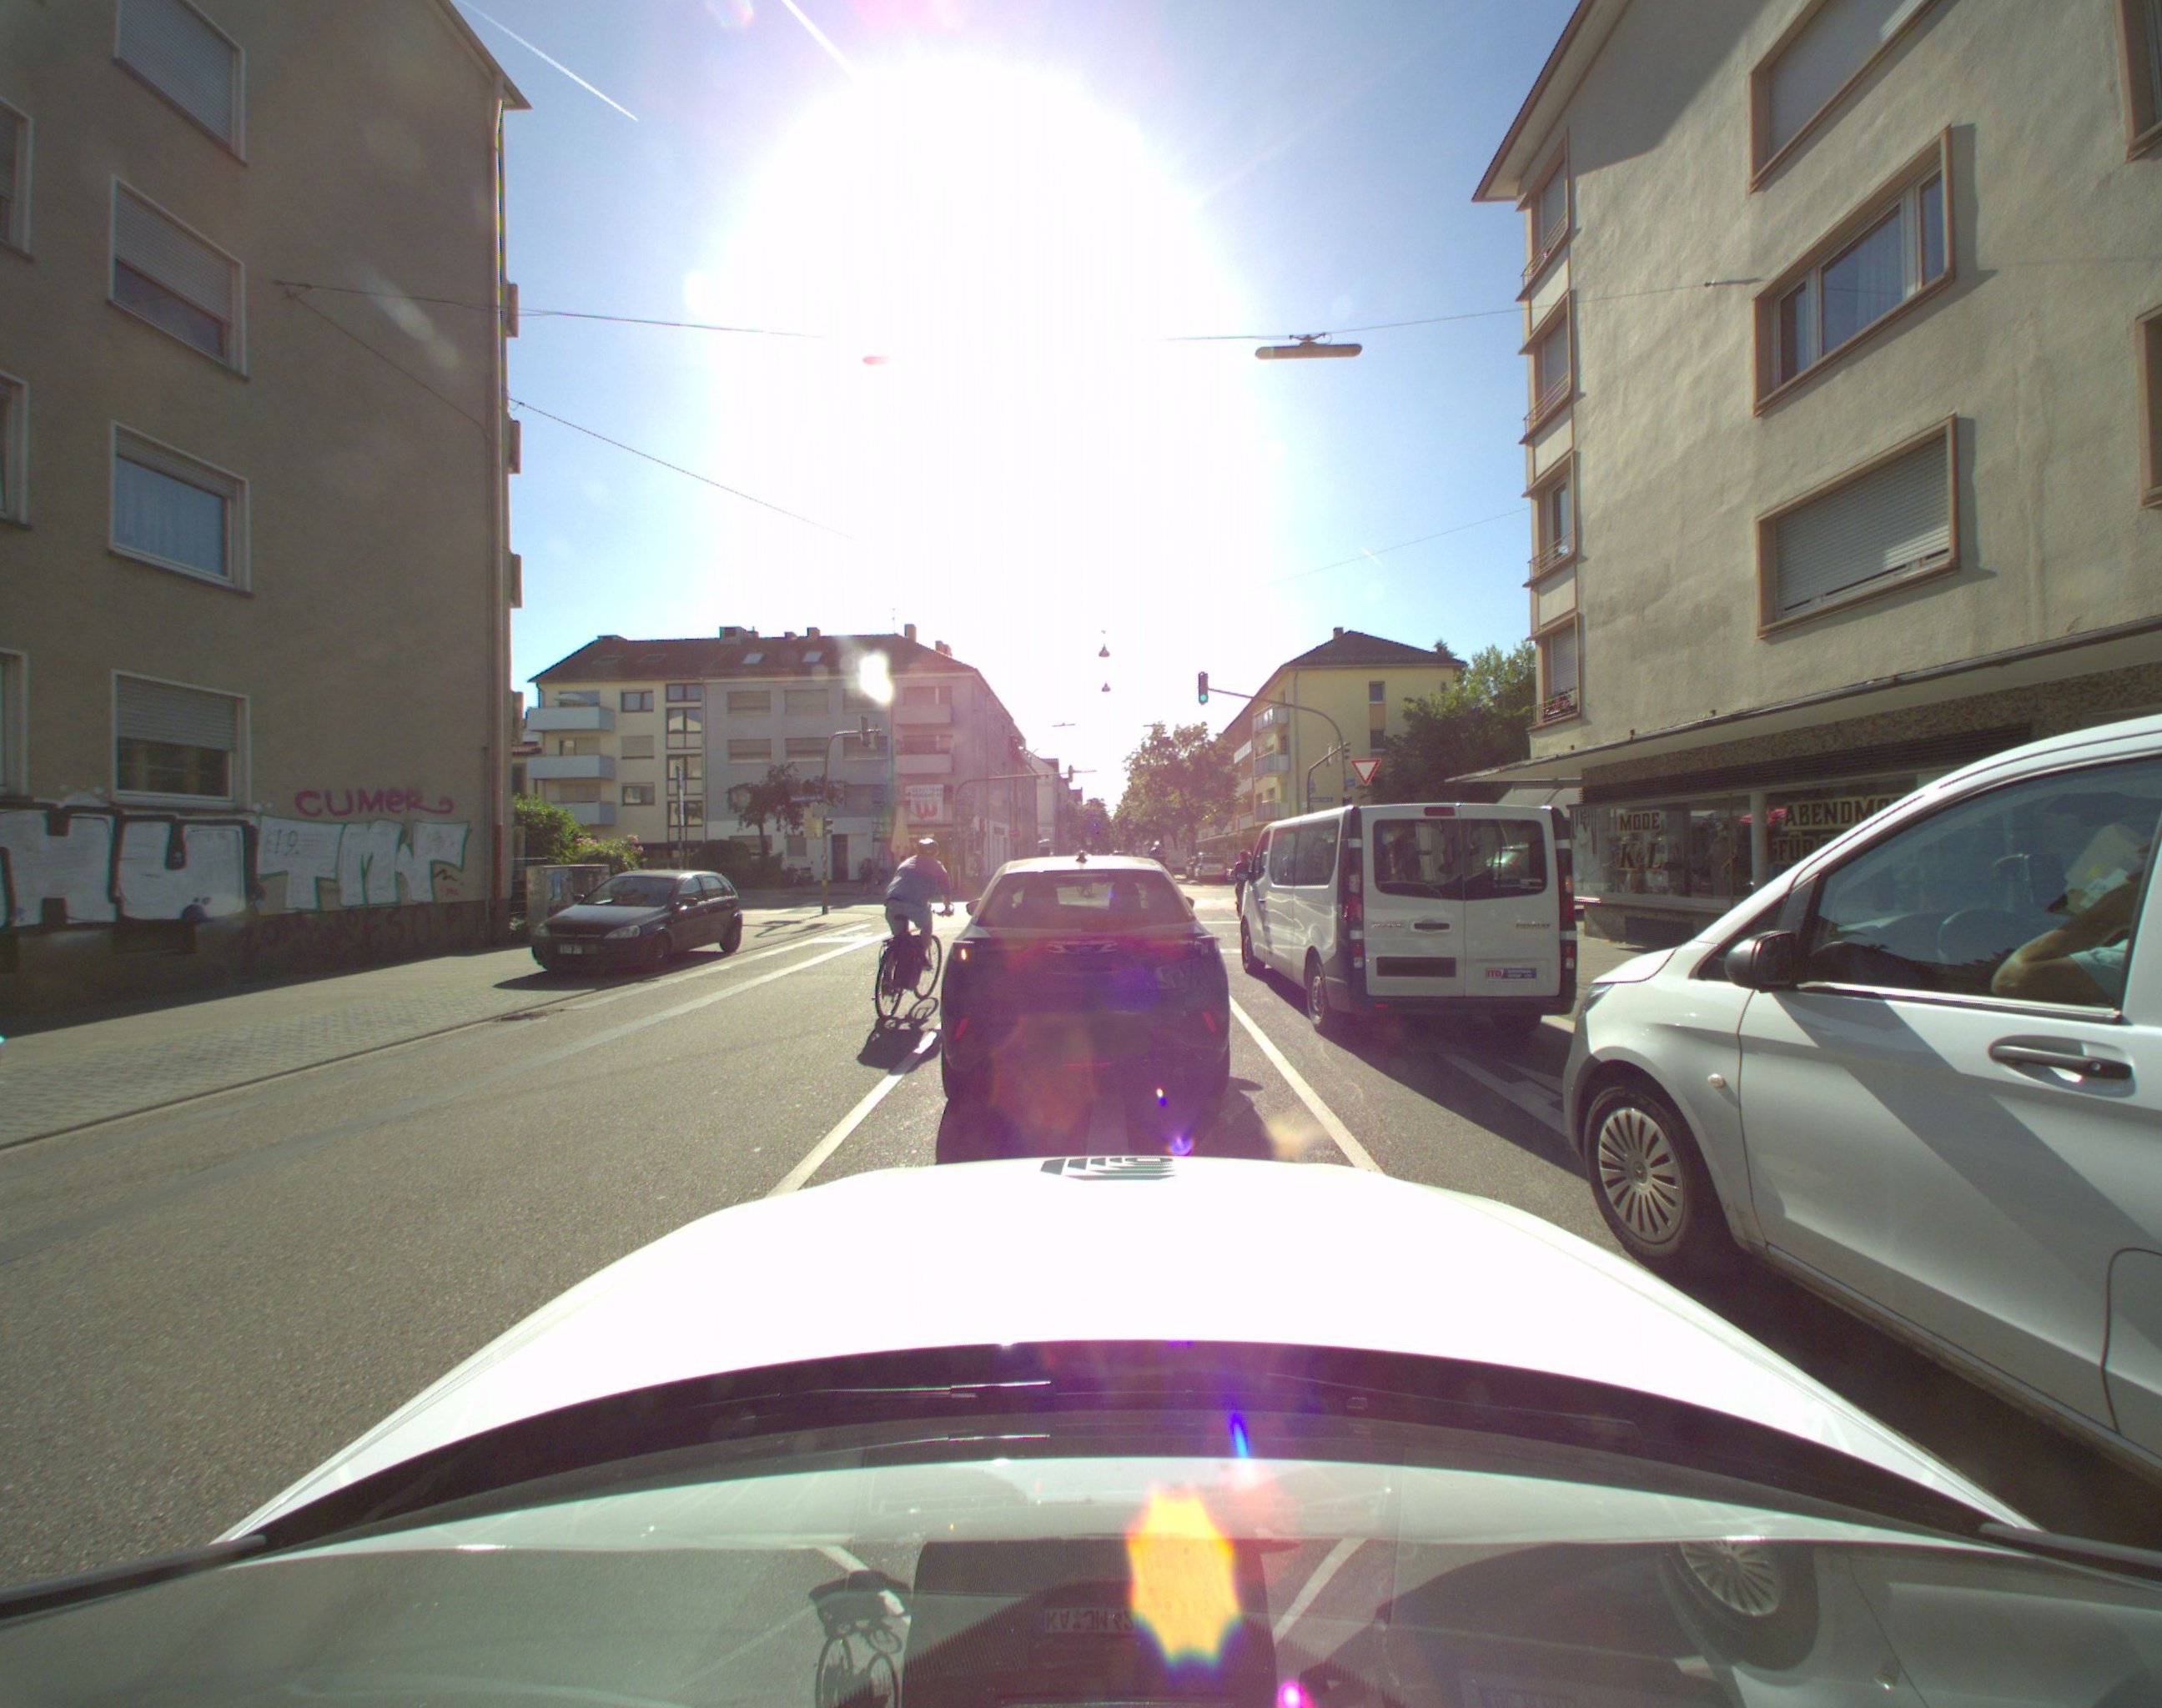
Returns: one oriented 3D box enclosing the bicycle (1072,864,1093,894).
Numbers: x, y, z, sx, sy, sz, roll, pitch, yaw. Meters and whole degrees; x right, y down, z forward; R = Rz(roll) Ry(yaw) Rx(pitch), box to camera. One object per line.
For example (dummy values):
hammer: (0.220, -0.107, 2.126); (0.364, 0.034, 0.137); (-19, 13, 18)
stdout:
bicycle: (0.057, 0.954, 31.493); (0.714, 1.064, 1.873); (-2, -1, 2)

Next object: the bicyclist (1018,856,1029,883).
bicyclist: (-3.275, 0.899, 46.413); (0.540, 1.520, 0.774); (-1, 0, 2)

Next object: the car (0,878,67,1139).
car: (-7.200, 0.891, 2.608); (1.817, 1.503, 4.802); (1, 0, 1)

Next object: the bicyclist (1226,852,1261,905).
bicyclist: (3.712, 0.547, 18.666); (0.689, 1.193, 0.595); (-1, 0, 3)

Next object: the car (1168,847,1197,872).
car: (8.074, 0.430, 64.961); (2.037, 1.846, 4.589); (-1, 0, 4)

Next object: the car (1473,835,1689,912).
car: (11.713, 0.439, 19.291); (3.972, 1.662, 1.826); (-1, 0, 2)

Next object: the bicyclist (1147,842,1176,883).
bicyclist: (2.684, 0.284, 27.298); (0.853, 1.314, 1.211); (1, 0, 2)

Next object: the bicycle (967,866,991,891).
bicycle: (-4.269, 1.012, 34.276); (0.677, 0.952, 1.934); (-3, 0, 2)

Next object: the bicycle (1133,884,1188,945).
bicycle: (1.434, 1.073, 15.094); (0.853, 0.945, 2.308); (1, 0, 2)

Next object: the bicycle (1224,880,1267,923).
bicycle: (3.718, 1.053, 18.540); (0.688, 0.866, 1.878); (-1, 0, 3)

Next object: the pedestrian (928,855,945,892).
pedestrian: (-6.118, 0.821, 34.486); (0.529, 1.581, 0.563); (-1, 0, 4)

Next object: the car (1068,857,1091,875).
car: (-0.118, 0.992, 68.388); (1.799, 1.413, 4.425); (-3, 0, 0)

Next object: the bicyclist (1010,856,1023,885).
bicyclist: (-3.204, 0.804, 40.500); (0.541, 1.391, 0.788); (-1, 0, -2)

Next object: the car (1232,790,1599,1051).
car: (2.974, 0.510, 8.627); (1.961, 1.940, 5.057); (0, 0, 2)

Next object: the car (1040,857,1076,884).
car: (-1.272, 0.912, 46.459); (1.830, 1.433, 4.178); (-1, 0, 1)

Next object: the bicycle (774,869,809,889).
bicycle: (-14.432, 1.267, 40.620); (1.582, 0.940, 0.513); (-1, 0, 3)

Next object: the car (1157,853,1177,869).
car: (8.248, 0.656, 78.143); (1.706, 1.483, 3.383); (-1, 0, 2)

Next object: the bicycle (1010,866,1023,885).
bicycle: (-3.202, 1.062, 40.424); (0.541, 0.902, 1.825); (-1, 0, -2)

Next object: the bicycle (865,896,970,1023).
bicycle: (-1.609, 1.008, 8.309); (0.630, 1.041, 1.796); (-2, 0, 2)

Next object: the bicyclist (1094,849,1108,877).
bicyclist: (1.197, 0.521, 48.994); (0.798, 1.649, 1.126); (-1, 0, 3)

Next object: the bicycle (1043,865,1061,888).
bicycle: (-1.316, 1.026, 37.160); (0.677, 0.952, 1.934); (-3, 0, 2)

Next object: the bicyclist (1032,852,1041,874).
bicyclist: (-3.143, 0.653, 57.494); (0.551, 1.549, 0.814); (0, 0, 1)

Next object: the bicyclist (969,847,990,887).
bicyclist: (-4.286, 0.542, 34.333); (0.677, 1.630, 0.899); (-3, 0, 2)

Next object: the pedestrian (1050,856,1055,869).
pedestrian: (-3.434, 1.005, 96.863); (0.575, 1.583, 0.707); (-1, 0, -3)

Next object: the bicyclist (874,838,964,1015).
bicyclist: (-1.618, 0.689, 8.281); (0.630, 1.669, 1.051); (-2, 0, 2)

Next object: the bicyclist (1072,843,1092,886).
bicyclist: (0.043, 0.406, 31.455); (0.714, 1.620, 0.946); (-2, -1, 2)

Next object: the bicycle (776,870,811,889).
bicycle: (-14.568, 1.281, 41.236); (1.582, 0.940, 0.513); (-1, 0, 3)

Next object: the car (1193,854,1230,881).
car: (7.480, 0.761, 46.969); (1.706, 1.483, 3.482); (-1, 0, 2)

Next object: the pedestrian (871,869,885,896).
pedestrian: (-8.809, 1.228, 35.380); (0.383, 1.146, 0.533); (-1, 0, 10)

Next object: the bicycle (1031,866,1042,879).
bicycle: (-3.131, 1.282, 57.448); (0.551, 0.833, 2.132); (0, 0, 1)

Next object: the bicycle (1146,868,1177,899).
bicycle: (2.659, 0.959, 27.212); (0.853, 0.945, 2.308); (1, 0, 2)

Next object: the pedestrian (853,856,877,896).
pedestrian: (-9.397, 0.955, 35.432); (0.568, 1.683, 0.973); (-1, 0, 17)

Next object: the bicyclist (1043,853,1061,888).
bicyclist: (-1.324, 0.750, 37.170); (0.677, 1.576, 0.899); (-3, 0, 2)

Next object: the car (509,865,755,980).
car: (-6.794, 0.944, 12.858); (1.685, 1.448, 3.856); (1, 0, 0)

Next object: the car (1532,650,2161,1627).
car: (2.970, 0.513, 1.196); (1.961, 1.810, 4.833); (-1, 0, 1)

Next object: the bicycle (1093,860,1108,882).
bicycle: (1.201, 1.020, 49.107); (0.798, 1.255, 2.140); (-1, 0, 3)

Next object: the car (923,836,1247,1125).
car: (0.083, 0.708, 6.476); (1.756, 1.558, 4.001); (-1, 0, 2)

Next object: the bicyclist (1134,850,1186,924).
bicyclist: (1.447, 0.586, 15.115); (0.853, 1.314, 1.211); (1, 0, 2)

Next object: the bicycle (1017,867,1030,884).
bicycle: (-3.270, 1.204, 46.450); (0.540, 0.902, 1.827); (-1, 0, 2)

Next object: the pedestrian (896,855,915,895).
pedestrian: (-7.432, 0.877, 34.529); (0.570, 1.689, 0.671); (-1, 0, 8)
